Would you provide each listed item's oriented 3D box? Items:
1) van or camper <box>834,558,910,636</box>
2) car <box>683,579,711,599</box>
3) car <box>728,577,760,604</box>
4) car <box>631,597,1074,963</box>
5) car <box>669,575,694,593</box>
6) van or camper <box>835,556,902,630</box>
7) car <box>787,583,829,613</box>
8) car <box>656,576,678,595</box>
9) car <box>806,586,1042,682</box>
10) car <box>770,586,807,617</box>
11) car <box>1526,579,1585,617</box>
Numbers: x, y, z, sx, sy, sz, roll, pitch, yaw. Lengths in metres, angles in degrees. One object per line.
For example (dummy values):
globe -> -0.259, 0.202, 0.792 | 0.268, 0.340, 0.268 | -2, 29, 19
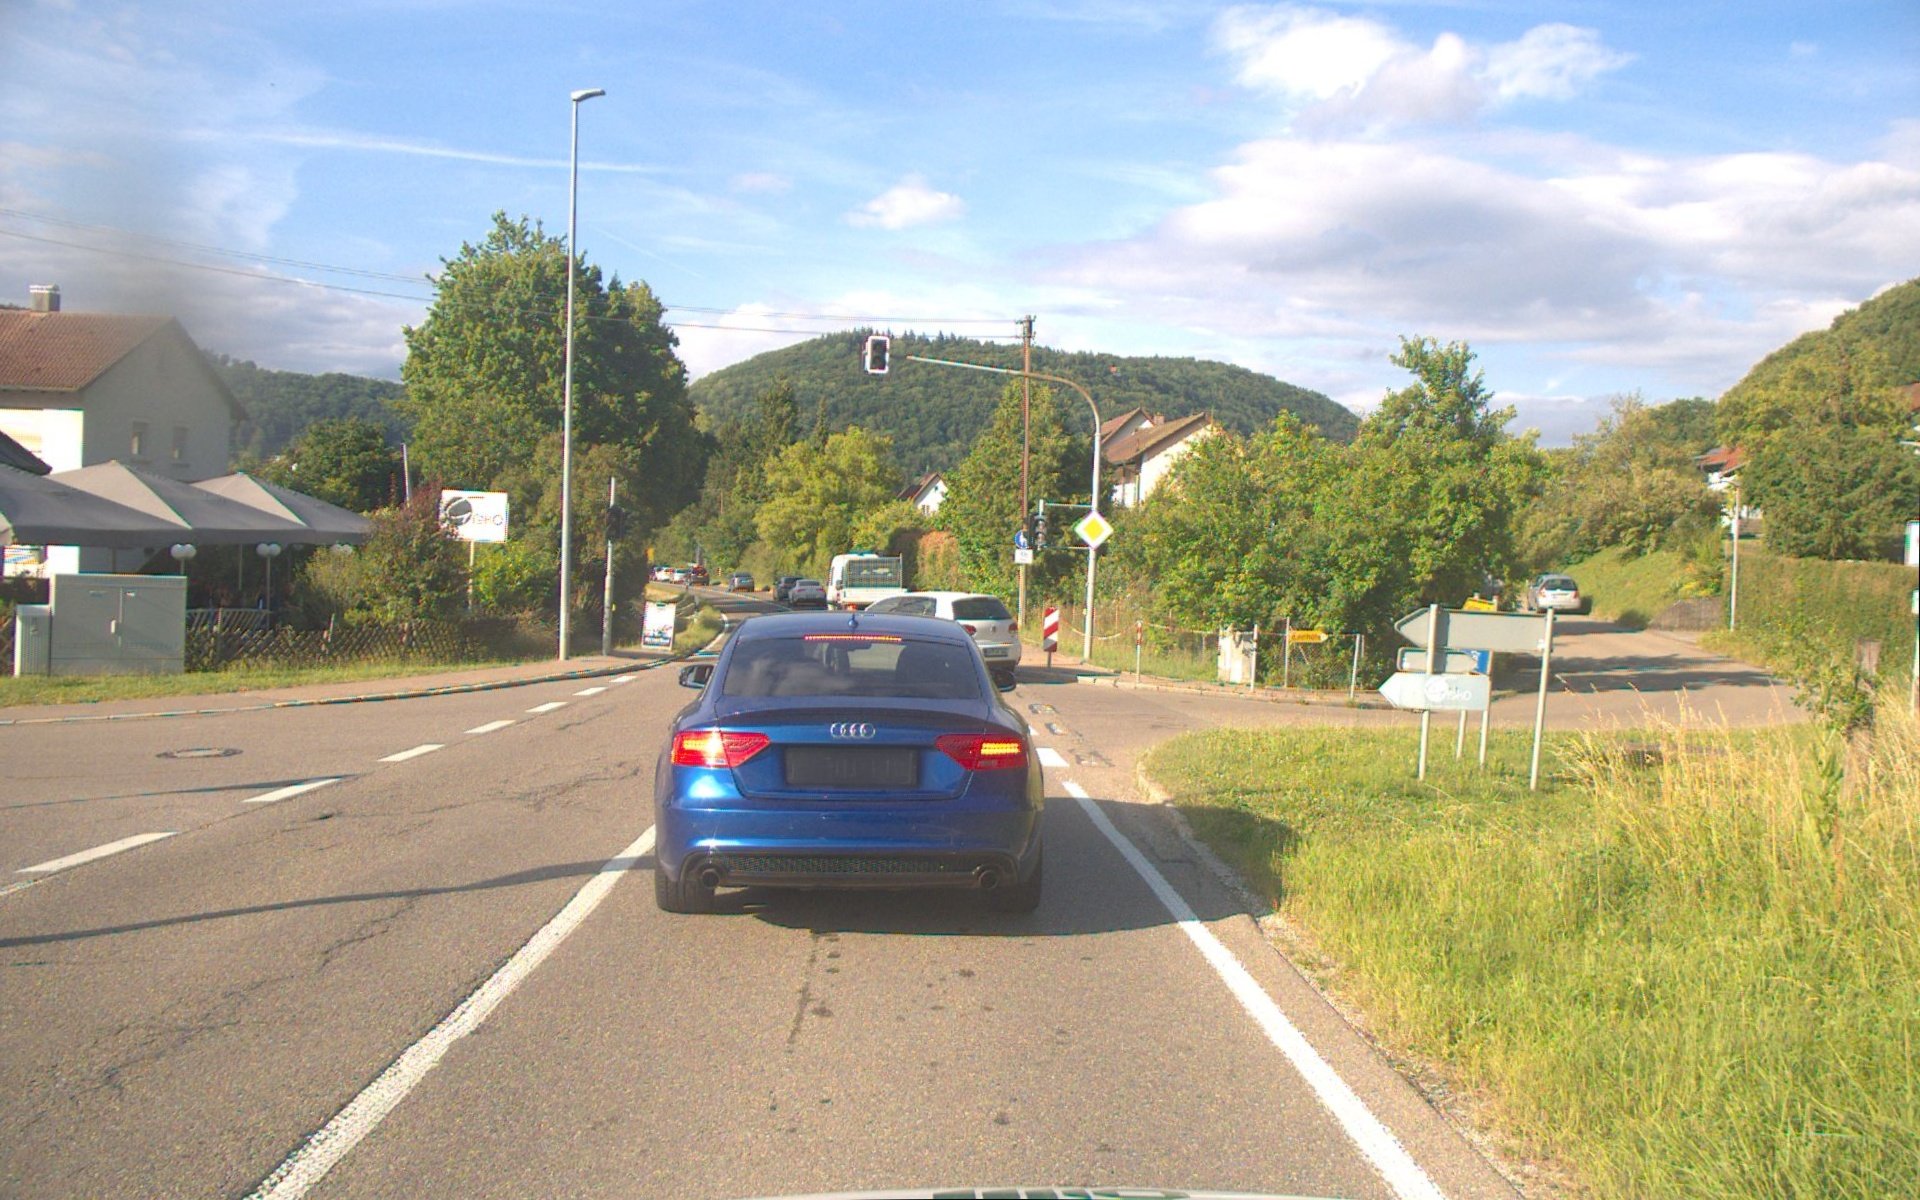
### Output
van or camper -> -2.980, -0.137, 54.766 | 2.138, 2.426, 5.361 | 0, 1, -7
car -> -23.880, -1.021, 150.167 | 2.008, 1.713, 3.983 | 0, 1, -16
car -> -16.397, -0.750, 125.475 | 1.961, 2.049, 3.984 | 0, 1, -15
car -> -0.530, 0.724, 8.844 | 1.793, 1.433, 4.224 | 0, 1, -3
car -> -26.743, -1.552, 158.634 | 1.911, 1.713, 3.983 | 0, 1, -16
van or camper -> -3.879, -0.326, 69.229 | 2.369, 2.955, 6.122 | 0, 1, -7
car -> -8.234, -0.135, 89.353 | 1.787, 1.579, 3.988 | 0, 1, -12
car -> -29.626, -1.478, 167.171 | 1.720, 1.814, 3.982 | 0, 1, -16
car -> -0.693, 0.555, 28.719 | 1.763, 1.439, 4.107 | 2, 0, -44
car -> -10.465, 0.058, 100.733 | 1.765, 1.825, 3.988 | 0, 1, -12
car -> 24.797, -0.061, 69.000 | 1.951, 1.490, 4.003 | 1, 0, 14
